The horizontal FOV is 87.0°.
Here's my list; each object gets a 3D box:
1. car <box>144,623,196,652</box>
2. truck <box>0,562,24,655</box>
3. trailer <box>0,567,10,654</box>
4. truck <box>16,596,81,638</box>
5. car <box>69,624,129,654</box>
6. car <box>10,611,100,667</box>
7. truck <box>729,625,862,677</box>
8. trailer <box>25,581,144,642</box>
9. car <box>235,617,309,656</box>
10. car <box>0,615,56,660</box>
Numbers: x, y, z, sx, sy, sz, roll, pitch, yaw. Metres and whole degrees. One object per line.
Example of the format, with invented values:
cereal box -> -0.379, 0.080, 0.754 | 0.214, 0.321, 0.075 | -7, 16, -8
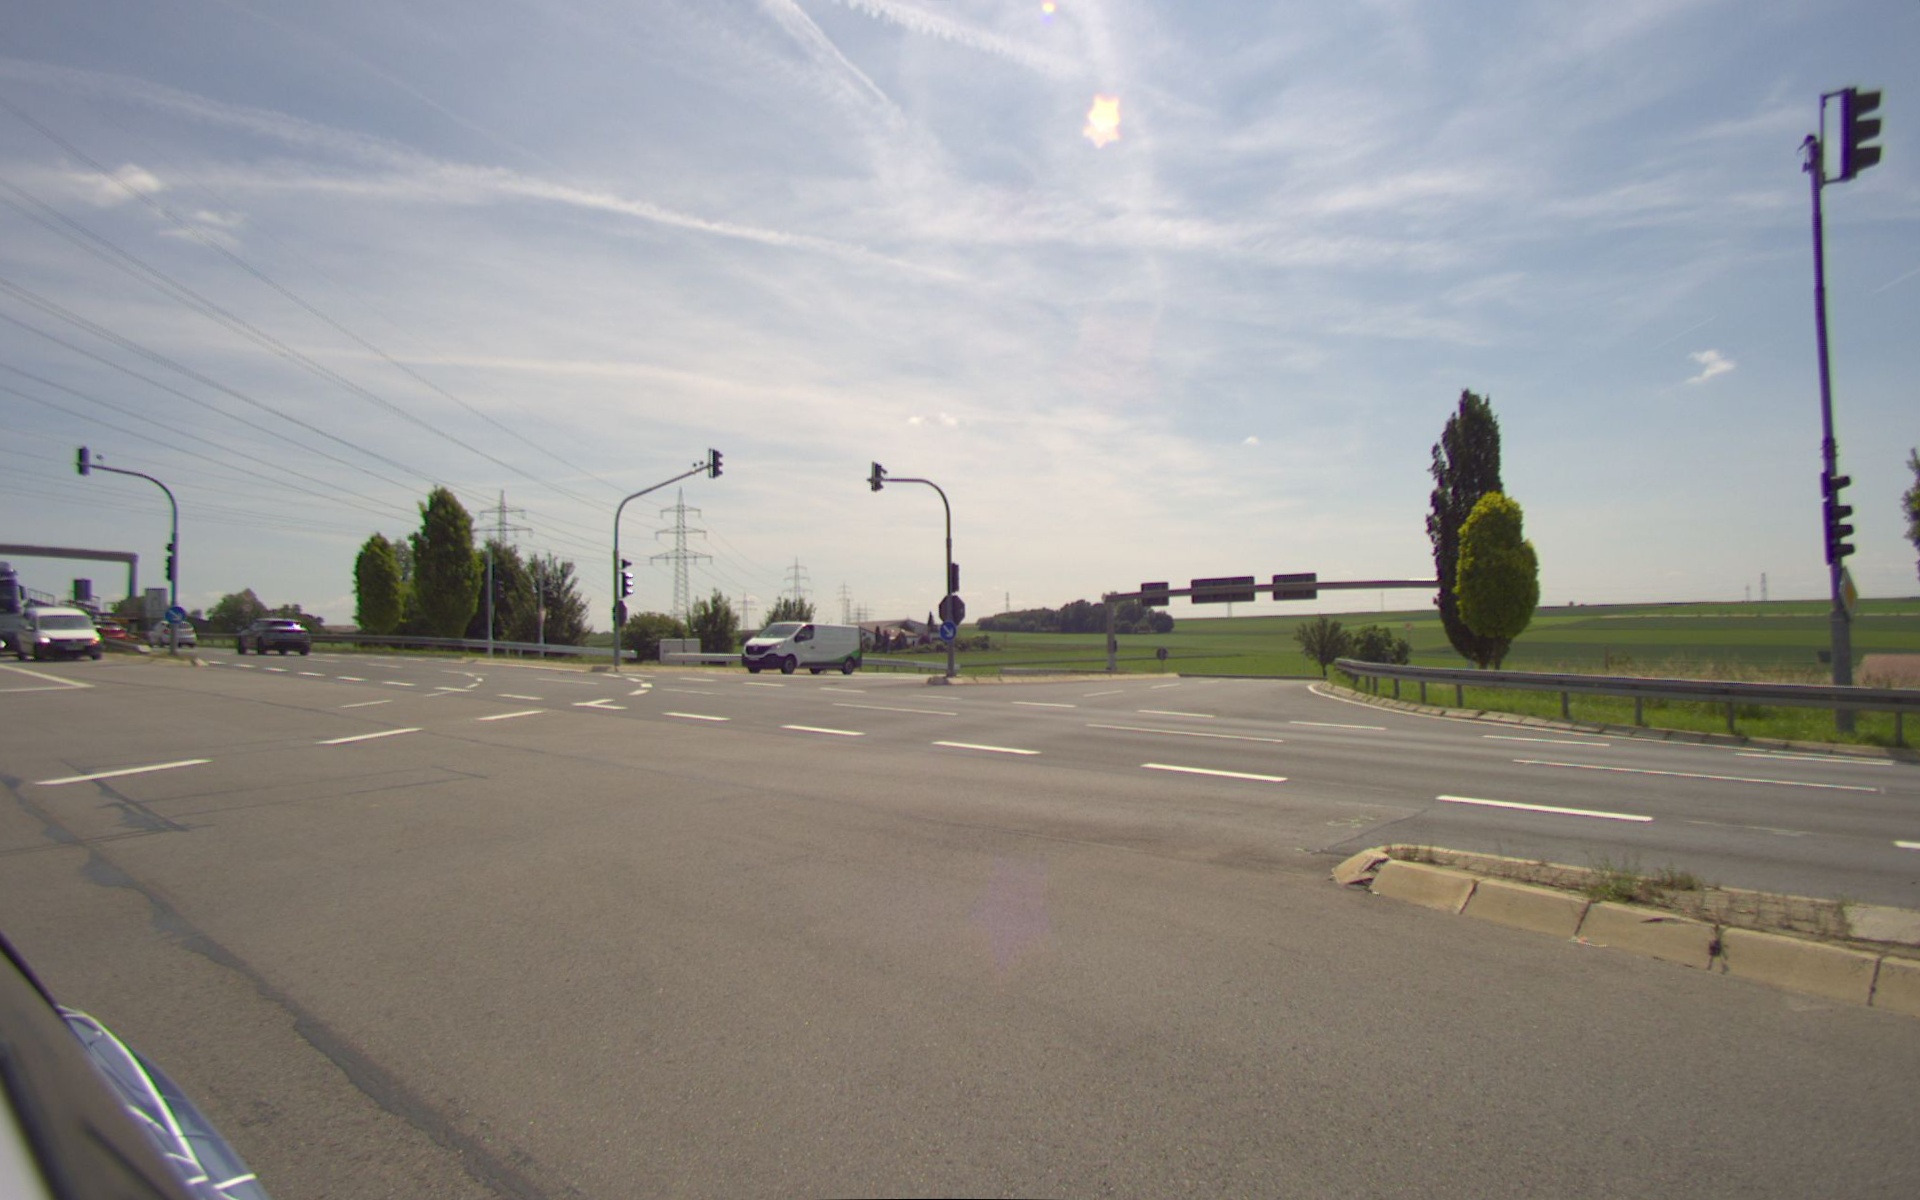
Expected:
car -> -44.817, 2.111, 57.365 | 3.800, 1.508, 1.627 | 0, -2, 41
truck -> -44.445, 0.423, 45.348 | 5.963, 4.043, 2.757 | -1, 0, 38
trailer -> -49.766, 0.579, 49.559 | 13.768, 3.943, 2.756 | -1, 0, 38
truck -> -68.368, 1.236, 75.897 | 5.984, 3.036, 2.771 | 0, -1, 40
car -> -44.782, 2.026, 52.609 | 4.061, 1.508, 1.628 | -1, -3, 39
car -> -31.718, 1.315, 35.437 | 4.749, 1.812, 1.749 | -1, 0, 41
truck -> -6.059, 1.908, 37.914 | 1.993, 1.770, 5.225 | 0, -3, 31
trailer -> -60.623, 0.794, 69.740 | 19.774, 3.792, 2.613 | 0, -1, 39
car -> -30.912, 1.640, 45.418 | 4.325, 1.636, 1.627 | 0, -3, 41
car -> -37.736, 1.475, 40.380 | 4.344, 1.670, 1.837 | -1, 0, 40
